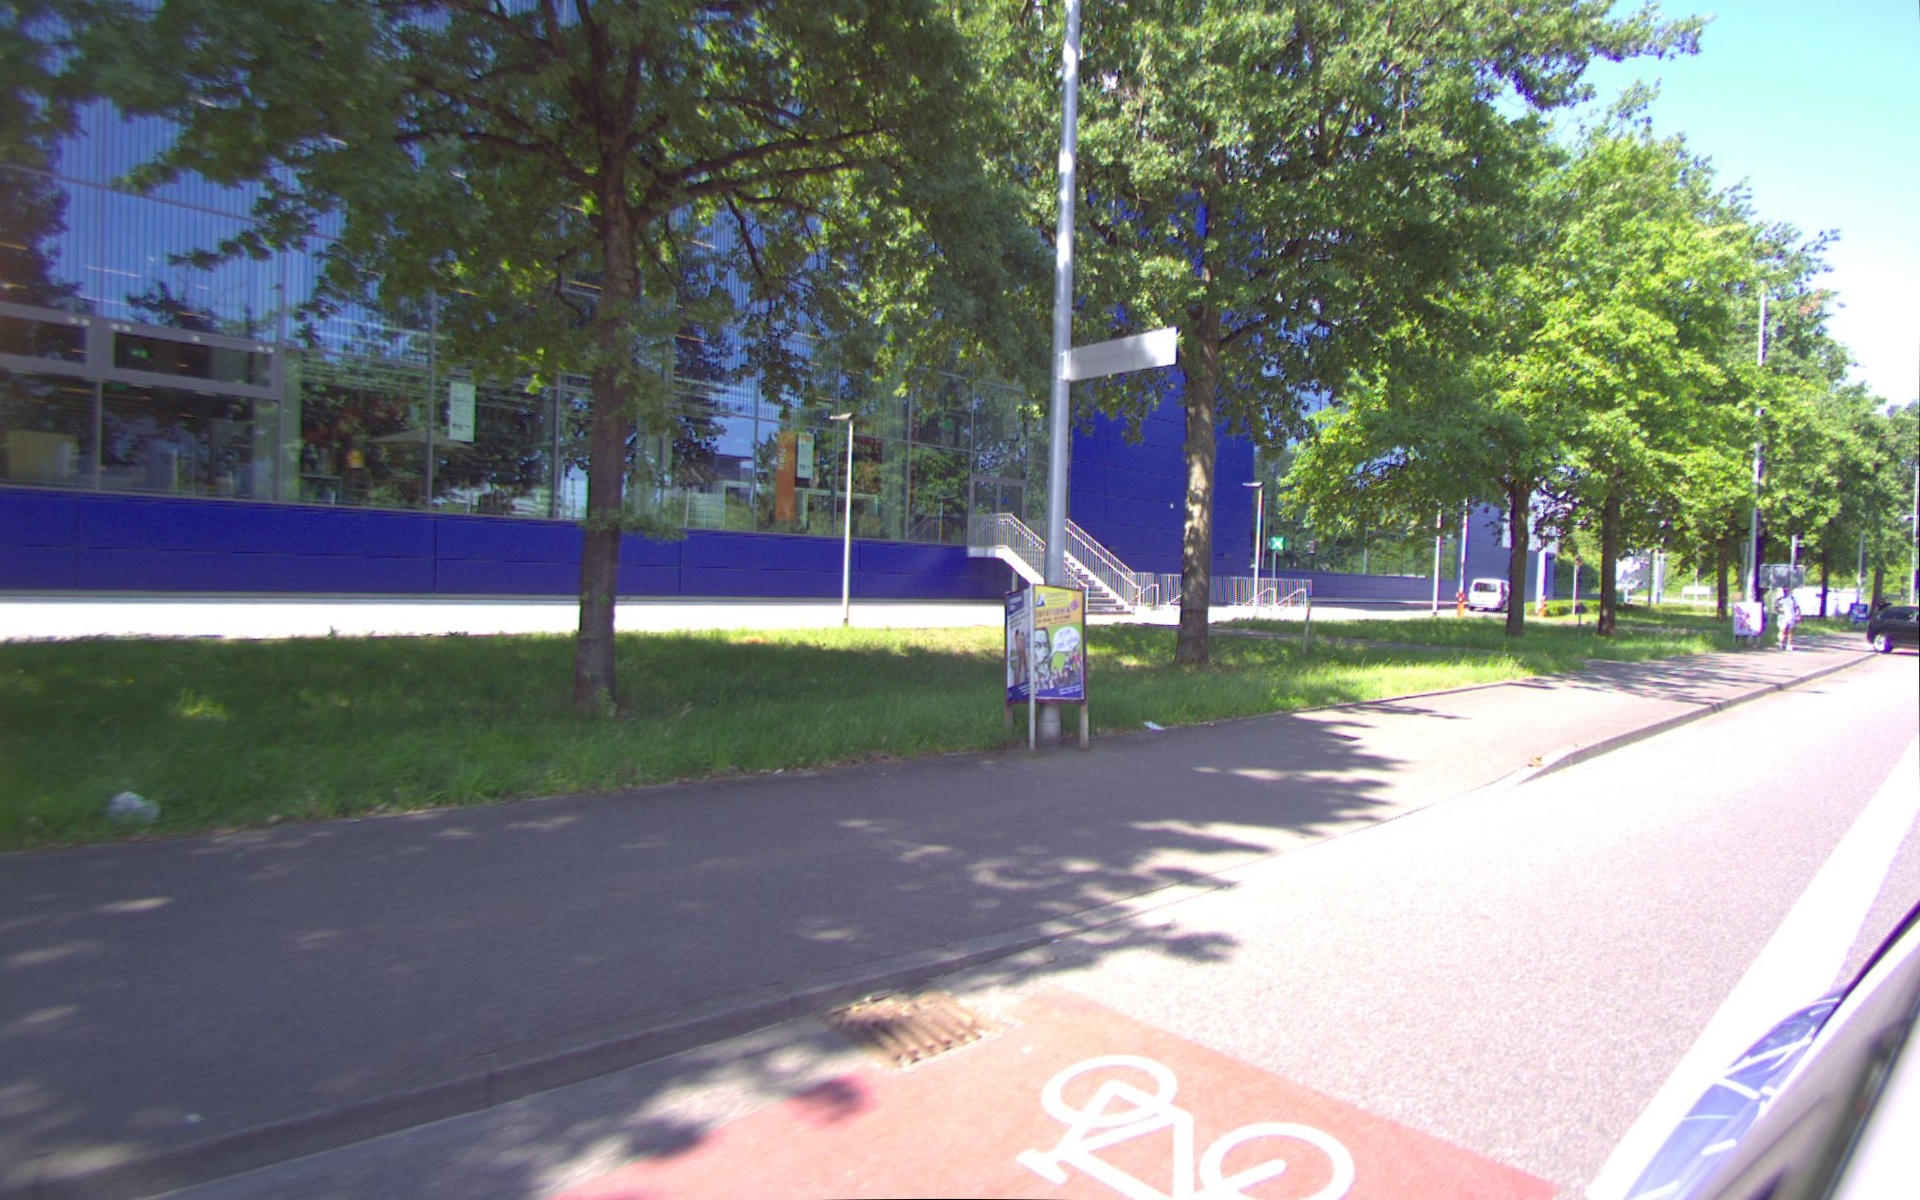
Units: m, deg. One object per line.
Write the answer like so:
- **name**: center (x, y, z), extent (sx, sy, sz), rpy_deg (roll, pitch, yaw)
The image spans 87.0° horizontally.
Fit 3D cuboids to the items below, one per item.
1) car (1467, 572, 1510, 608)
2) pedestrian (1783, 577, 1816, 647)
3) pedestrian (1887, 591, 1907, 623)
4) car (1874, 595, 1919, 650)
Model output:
- **car**: center (29.385, -0.552, 56.185), extent (1.896, 1.851, 4.135), rpy_deg (3, 2, 30)
- **pedestrian**: center (22.840, 0.318, 27.524), extent (0.715, 1.864, 0.536), rpy_deg (1, 2, -43)
- **pedestrian**: center (48.823, 0.378, 52.744), extent (0.832, 1.623, 0.648), rpy_deg (1, 2, -42)
- **car**: center (28.810, 0.716, 28.901), extent (1.880, 1.539, 4.363), rpy_deg (2, 2, 9)
